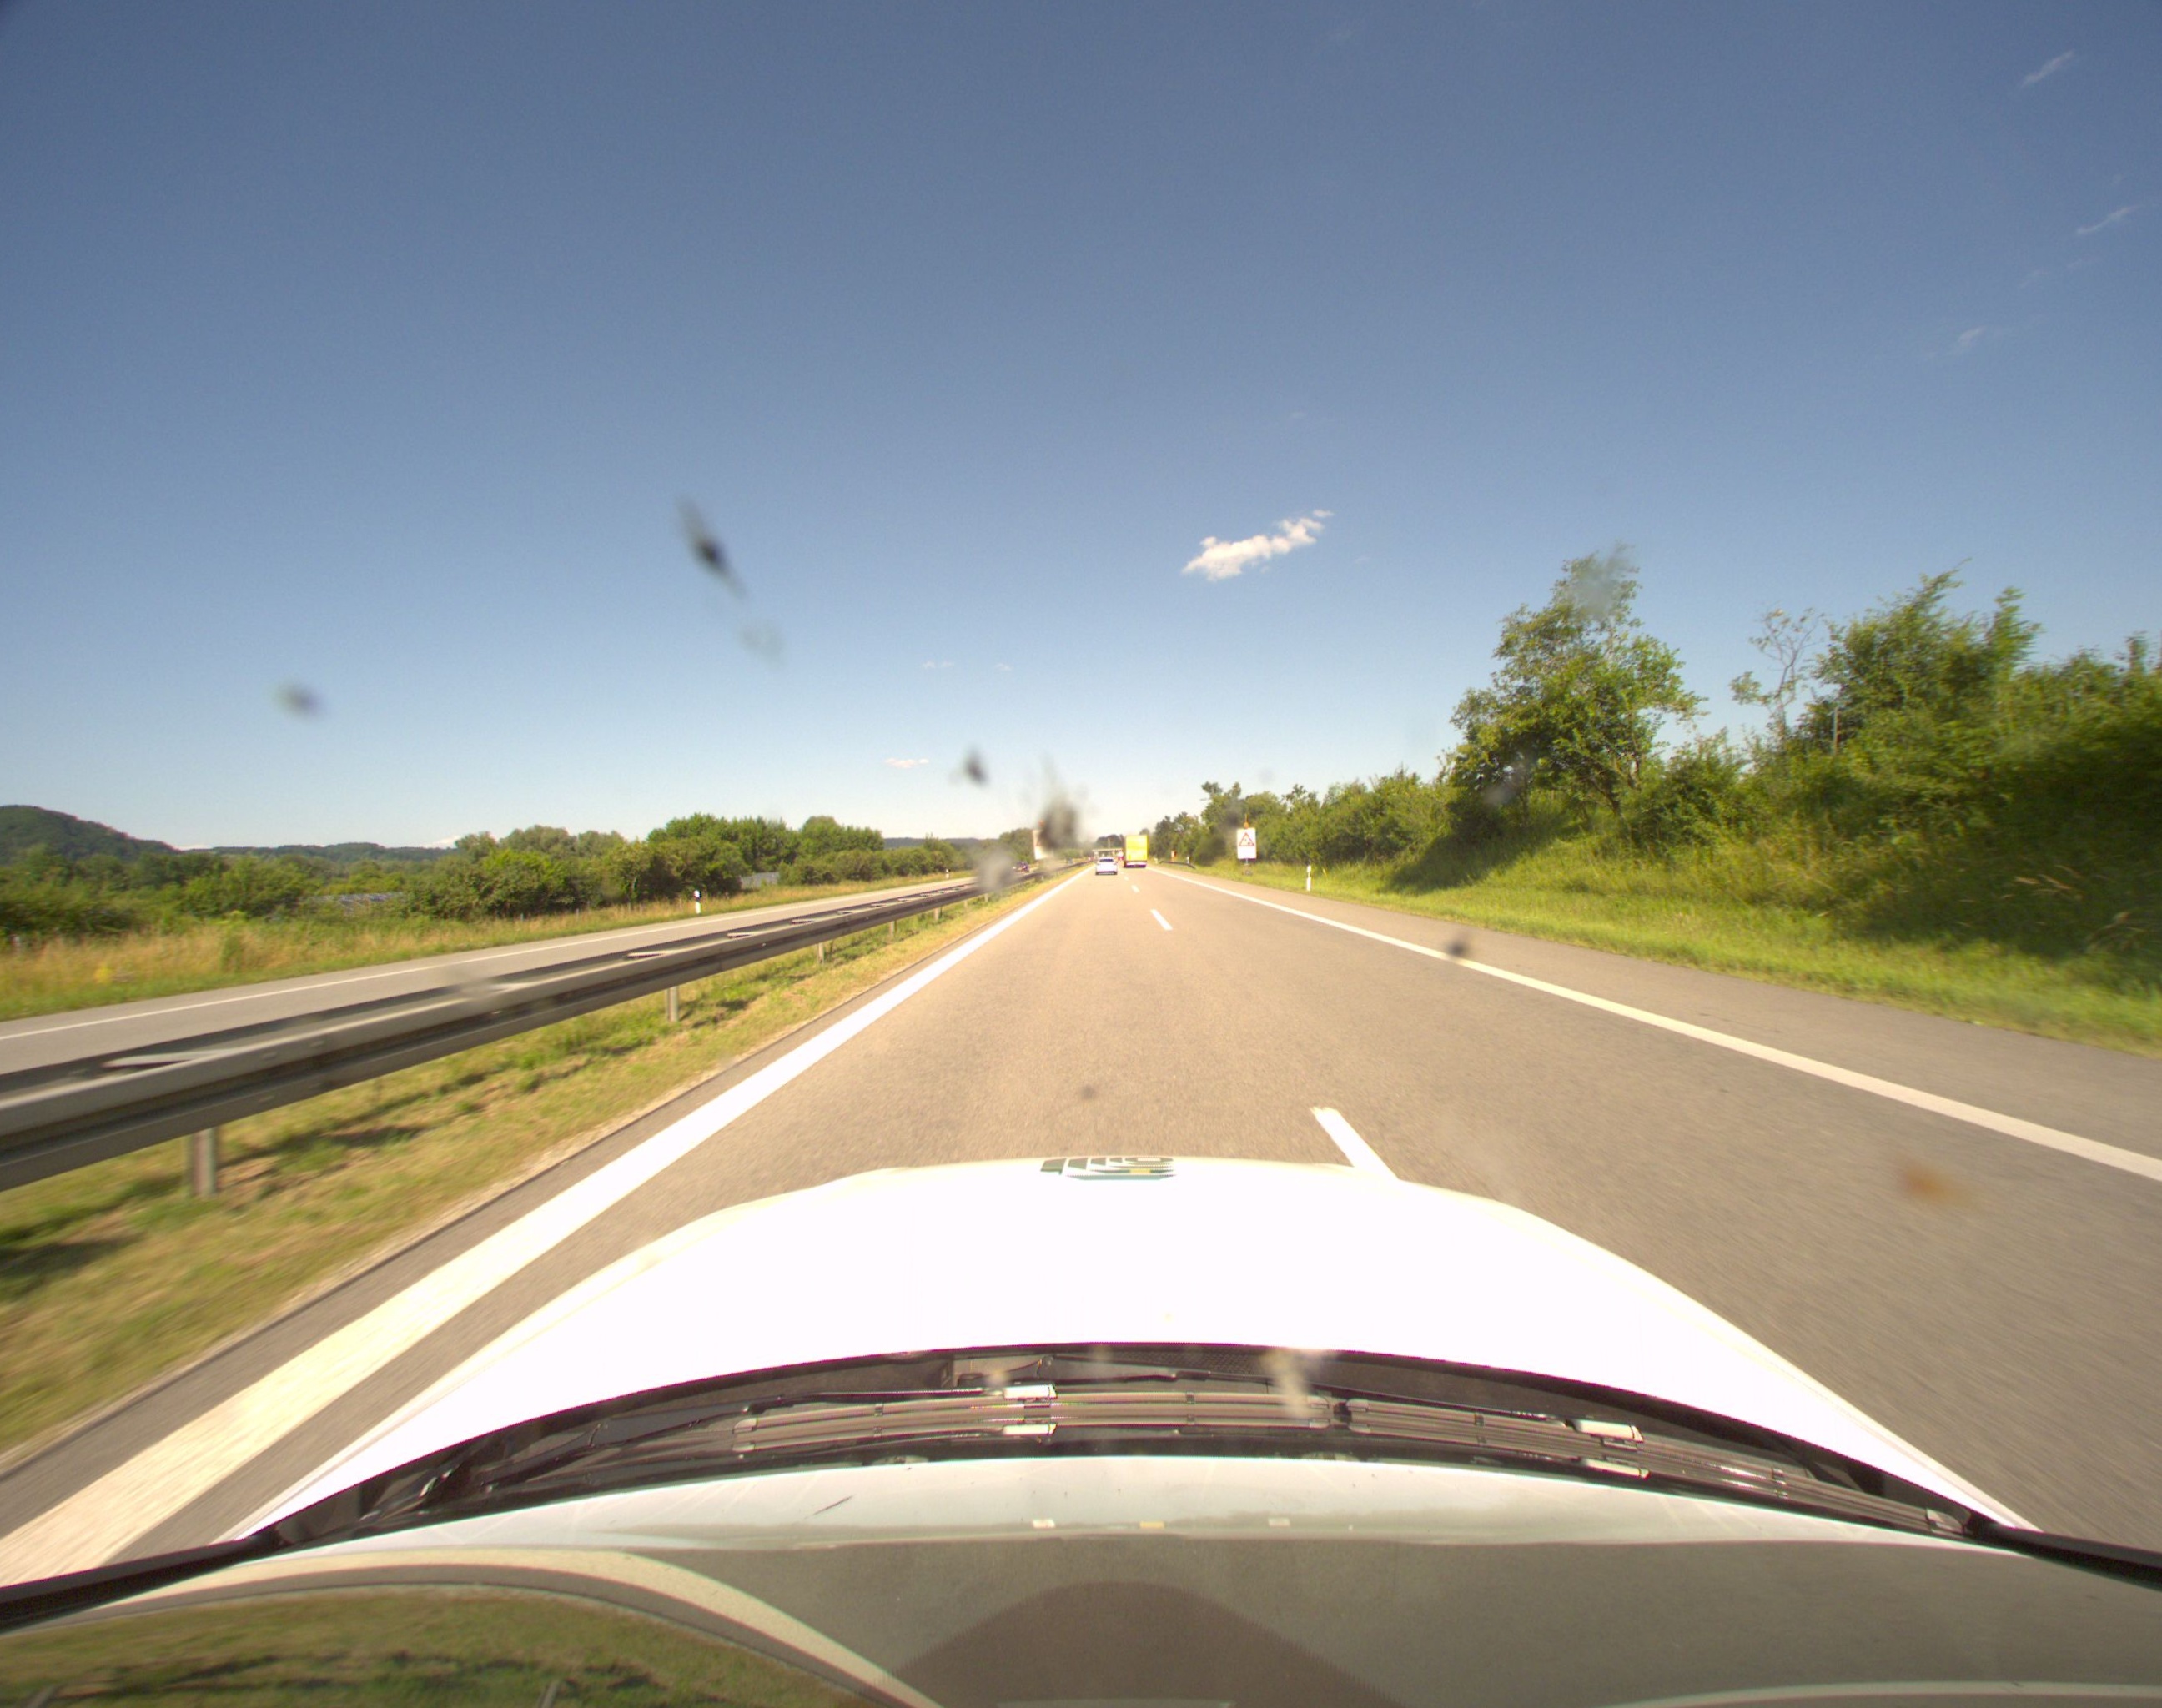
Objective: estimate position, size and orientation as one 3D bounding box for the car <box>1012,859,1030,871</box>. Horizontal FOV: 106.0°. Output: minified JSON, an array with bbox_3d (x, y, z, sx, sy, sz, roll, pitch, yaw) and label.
[{"bbox_3d":[-7.625,1.370,103.810,1.826,1.398,4.924,-5,0,1],"label":"car"}]

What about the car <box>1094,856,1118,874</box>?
[{"bbox_3d":[2.081,0.922,67.159,1.835,1.415,4.003,0,0,3],"label":"car"}]

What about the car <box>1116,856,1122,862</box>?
[{"bbox_3d":[11.905,1.608,256.868,1.895,1.683,4.733,1,0,2],"label":"car"}]

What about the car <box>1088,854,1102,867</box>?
[{"bbox_3d":[2.062,0.956,120.297,1.986,2.014,4.001,0,-1,1],"label":"car"}]

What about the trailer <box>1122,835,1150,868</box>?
[{"bbox_3d":[7.016,-0.248,105.580,3.172,4.059,13.194,0,0,2],"label":"trailer"}]
